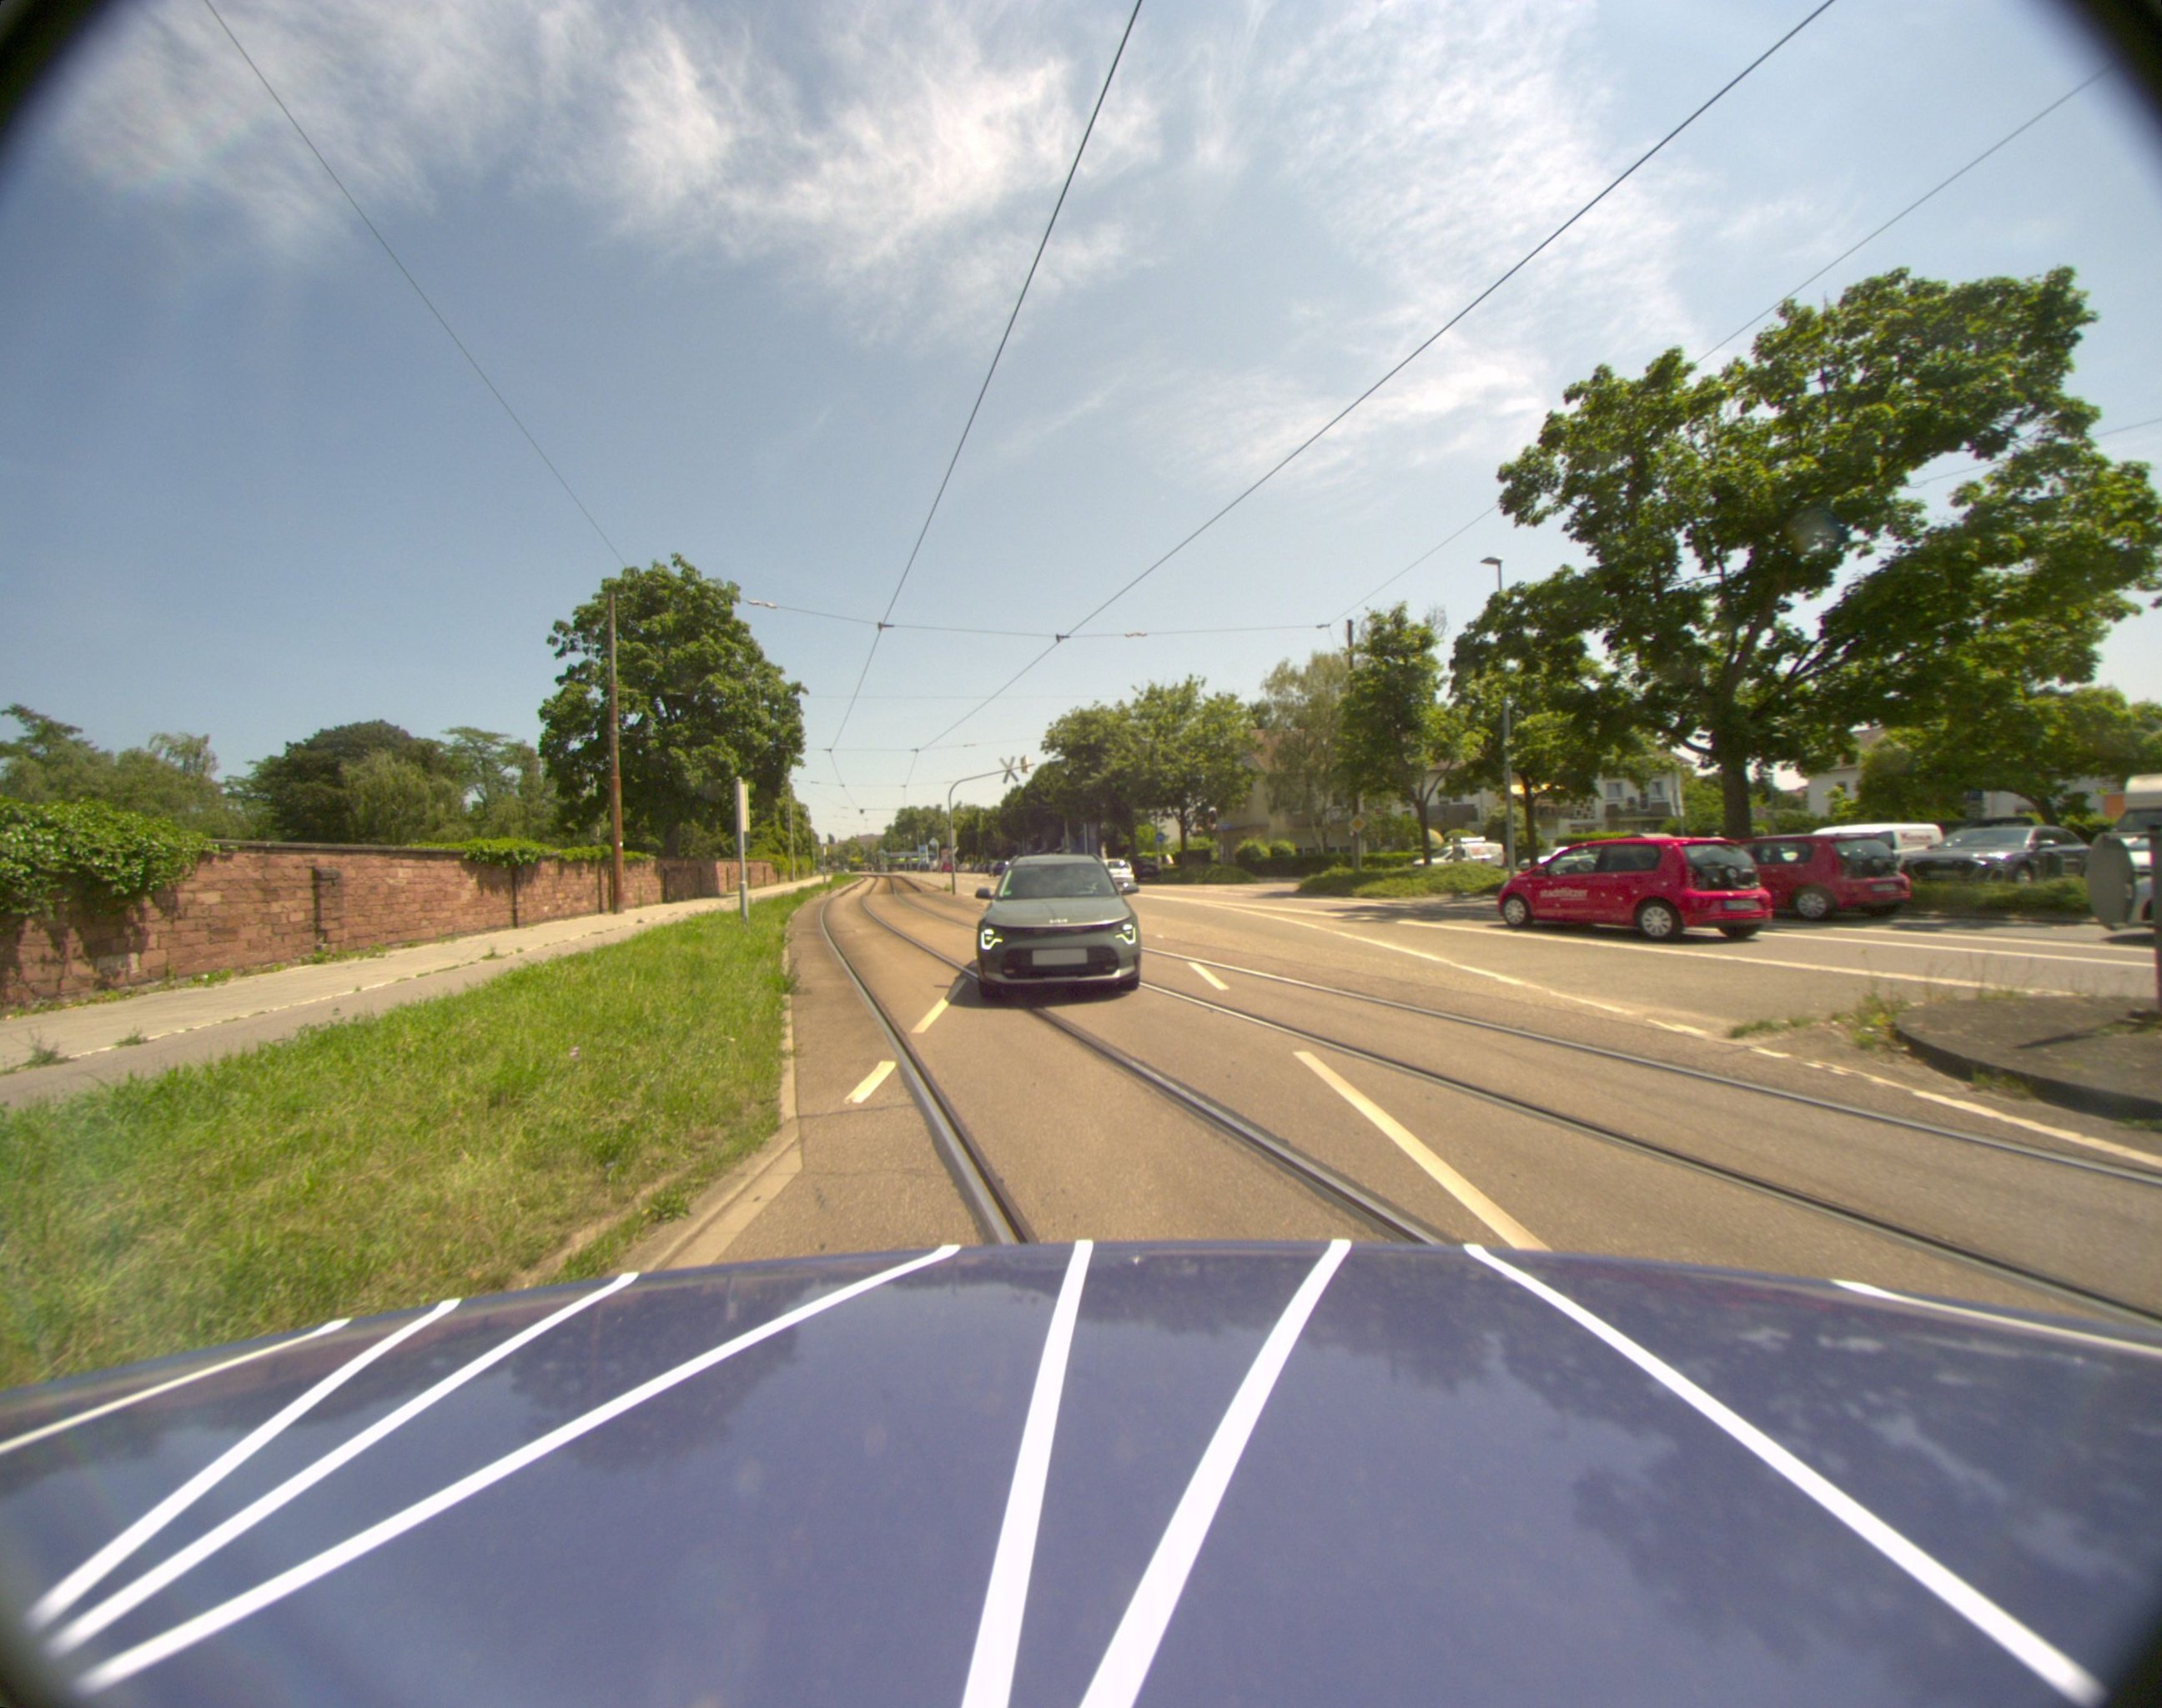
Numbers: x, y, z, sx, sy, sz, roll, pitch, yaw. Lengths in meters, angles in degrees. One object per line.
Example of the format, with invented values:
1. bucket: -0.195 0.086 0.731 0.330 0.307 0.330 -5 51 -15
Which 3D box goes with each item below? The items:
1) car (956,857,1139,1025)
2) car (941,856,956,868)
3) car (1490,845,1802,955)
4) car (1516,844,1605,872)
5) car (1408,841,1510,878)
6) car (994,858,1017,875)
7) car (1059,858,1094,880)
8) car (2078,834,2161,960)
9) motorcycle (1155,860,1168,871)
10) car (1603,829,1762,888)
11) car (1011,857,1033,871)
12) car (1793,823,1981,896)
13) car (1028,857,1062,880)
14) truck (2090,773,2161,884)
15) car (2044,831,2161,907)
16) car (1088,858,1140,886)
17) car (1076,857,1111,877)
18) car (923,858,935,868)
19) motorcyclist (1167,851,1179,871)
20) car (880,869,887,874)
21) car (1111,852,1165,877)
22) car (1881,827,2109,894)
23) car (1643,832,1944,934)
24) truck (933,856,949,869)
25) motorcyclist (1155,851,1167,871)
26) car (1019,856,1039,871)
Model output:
1. car: -0.179 0.896 9.883 1.758 1.574 4.428 -3 0 5
2. car: -21.869 1.369 125.341 1.906 1.914 4.813 0 -1 -16
3. car: 8.365 0.603 11.670 1.663 1.401 3.601 -1 0 -15
4. car: 26.080 0.213 41.377 3.906 1.385 1.545 -2 0 -6
5. car: 19.023 0.258 38.375 4.232 1.696 1.741 -2 0 1
6. car: -7.740 1.219 77.453 1.744 1.647 4.061 -1 0 -14
7. car: -0.452 1.287 66.236 1.978 1.679 4.682 -3 0 -13
8. car: 14.459 0.487 7.802 1.725 1.419 4.764 -6 1 -16
9. motorcycle: 6.359 0.888 60.276 0.528 0.821 1.369 -5 1 -13
10. car: 20.820 0.145 26.345 4.464 1.846 2.058 -2 0 -15
11. car: -7.311 1.236 93.261 1.682 1.487 4.633 -6 1 -16
12. car: 22.548 0.133 21.282 4.282 1.825 1.671 -2 0 -13
13. car: -2.693 1.056 56.294 1.744 1.566 3.708 -1 0 -14
14. truck: 34.666 -0.886 23.250 7.003 3.209 2.148 -3 0 -16
15. car: 23.277 0.257 16.092 4.137 1.499 1.930 -2 0 -12
16. car: 1.666 0.909 39.485 1.655 1.368 3.806 0 0 -14
17. car: 0.939 1.036 61.081 1.682 1.478 4.123 -3 0 -15
18. car: -29.968 1.839 149.929 1.925 1.899 4.565 -1 0 -15
19. motorcyclist: 6.965 0.543 57.723 0.588 1.494 0.661 -5 1 -13
20. car: -61.449 5.372 236.466 1.867 1.487 3.466 -6 1 -16
21. car: 3.684 0.687 50.062 1.901 1.448 4.803 -3 0 -17
22. car: 21.843 0.132 18.205 4.213 1.395 2.078 -2 0 -18
23. car: 12.777 0.459 13.975 1.677 1.537 3.723 -3 1 -12
24. truck: -30.243 1.913 164.475 2.137 2.565 4.855 -6 1 -23
25. motorcyclist: 6.346 0.550 60.252 0.588 1.494 0.724 -5 1 -13
26. car: -6.007 1.125 88.103 1.507 1.487 3.278 -6 1 -16
